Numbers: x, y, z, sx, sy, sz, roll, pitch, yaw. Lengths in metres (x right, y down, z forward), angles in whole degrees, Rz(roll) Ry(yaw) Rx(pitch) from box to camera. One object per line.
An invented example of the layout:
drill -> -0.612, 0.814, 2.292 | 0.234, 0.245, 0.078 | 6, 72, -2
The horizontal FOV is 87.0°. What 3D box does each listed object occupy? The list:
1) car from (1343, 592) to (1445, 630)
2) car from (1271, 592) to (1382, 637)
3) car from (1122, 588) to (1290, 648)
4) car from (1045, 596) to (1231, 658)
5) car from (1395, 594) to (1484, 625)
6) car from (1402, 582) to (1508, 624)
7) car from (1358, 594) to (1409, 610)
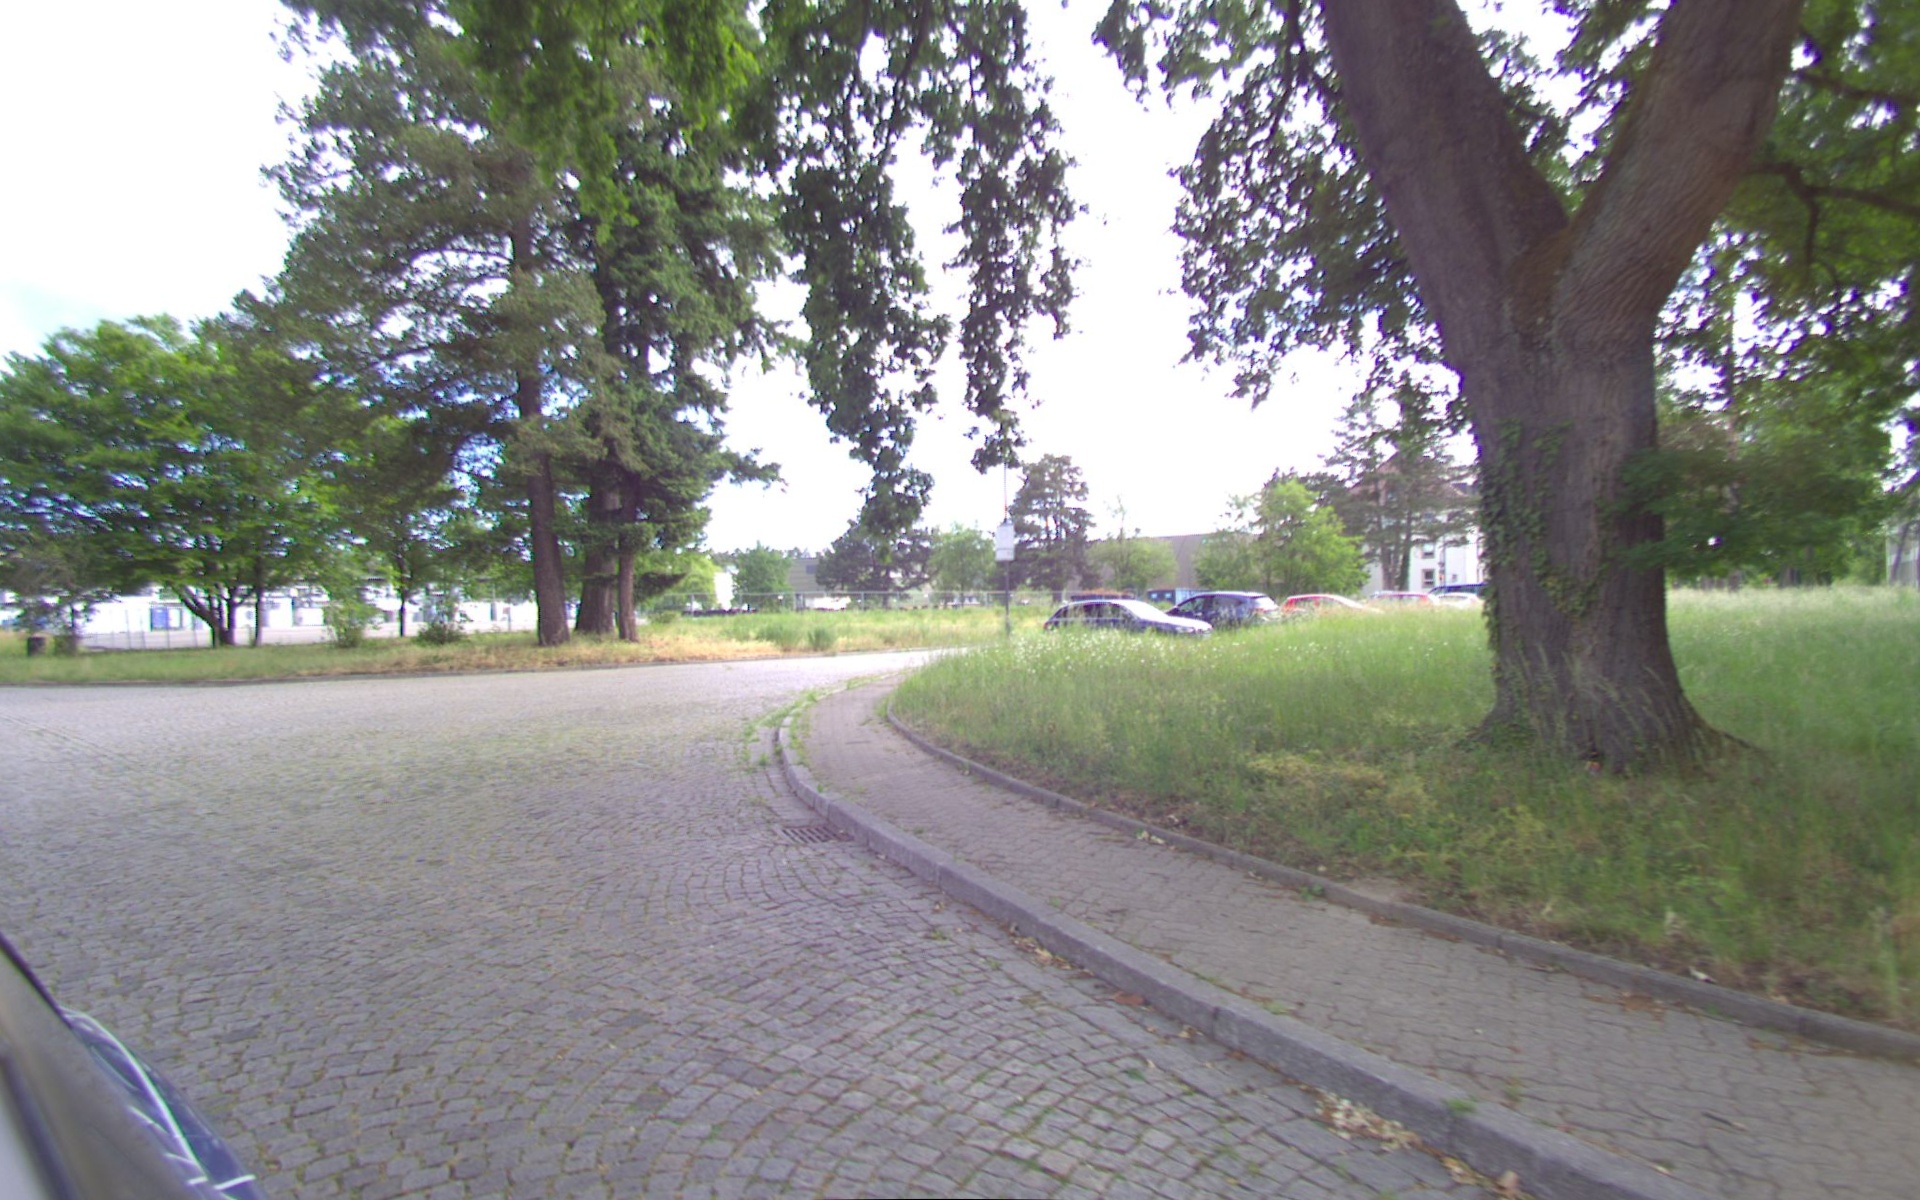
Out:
car -> 18.423, 0.492, 43.000 | 3.658, 1.432, 1.557 | -4, -2, 38
car -> 13.469, 0.541, 37.286 | 3.495, 1.493, 1.582 | -4, -2, 39
car -> 7.084, 0.550, 29.374 | 4.360, 1.574, 1.741 | -3, -1, 39
car -> 4.425, 0.708, 25.555 | 4.354, 1.415, 1.739 | -3, -1, 43
car -> 23.754, 0.472, 50.172 | 3.690, 1.349, 1.563 | -4, -2, 39
car -> 25.416, 0.177, 52.022 | 4.540, 1.916, 1.770 | -4, -2, 39
car -> 31.814, 0.148, 76.094 | 3.263, 1.095, 1.432 | -1, 0, 36
